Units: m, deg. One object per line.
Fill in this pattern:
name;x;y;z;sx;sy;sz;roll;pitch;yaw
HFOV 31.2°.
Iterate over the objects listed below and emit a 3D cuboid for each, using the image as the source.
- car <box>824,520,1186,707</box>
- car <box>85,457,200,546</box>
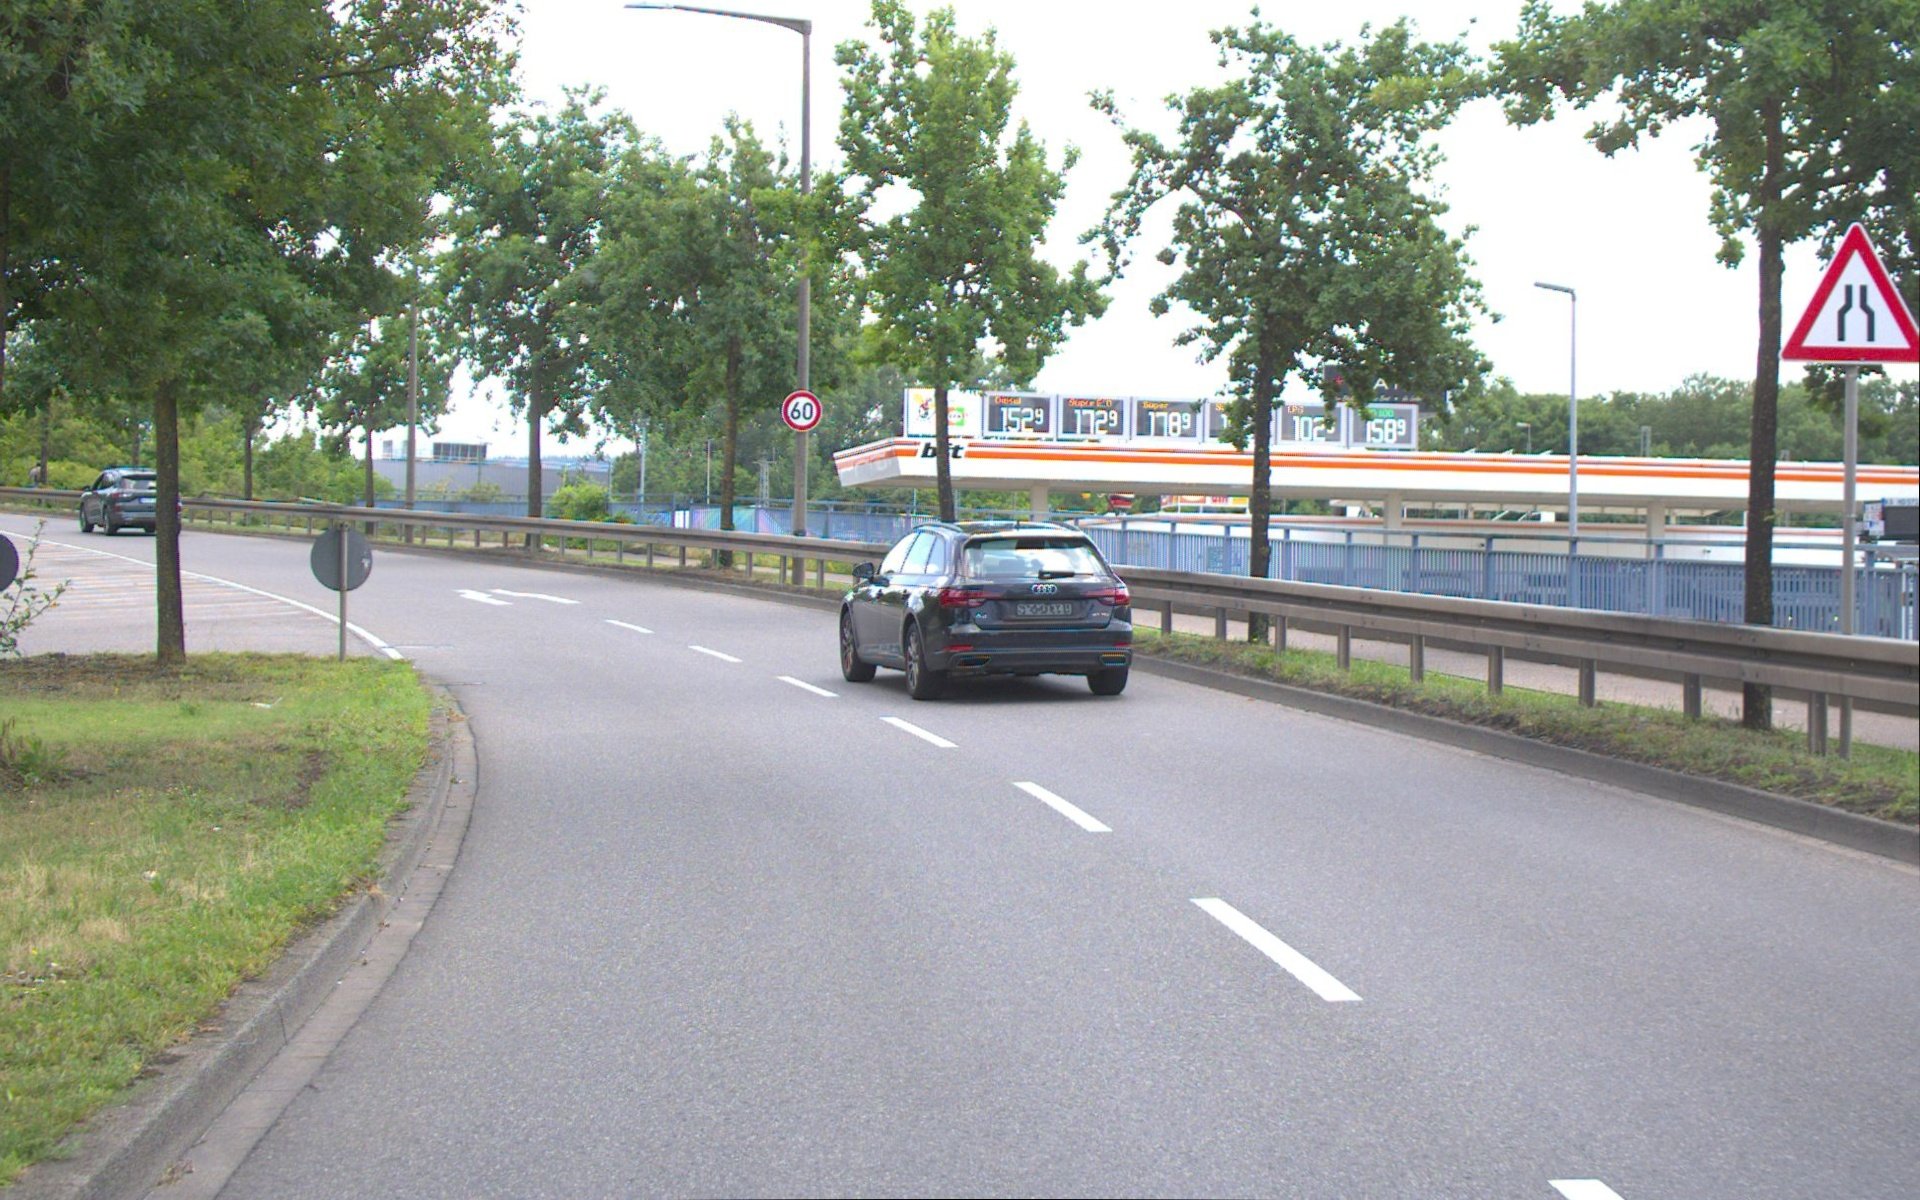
car;0.281;0.061;29.403;1.993;1.386;4.577;3;1;-13
car;-20.497;-2.439;86.056;1.993;2.030;4.714;2;-1;-23
